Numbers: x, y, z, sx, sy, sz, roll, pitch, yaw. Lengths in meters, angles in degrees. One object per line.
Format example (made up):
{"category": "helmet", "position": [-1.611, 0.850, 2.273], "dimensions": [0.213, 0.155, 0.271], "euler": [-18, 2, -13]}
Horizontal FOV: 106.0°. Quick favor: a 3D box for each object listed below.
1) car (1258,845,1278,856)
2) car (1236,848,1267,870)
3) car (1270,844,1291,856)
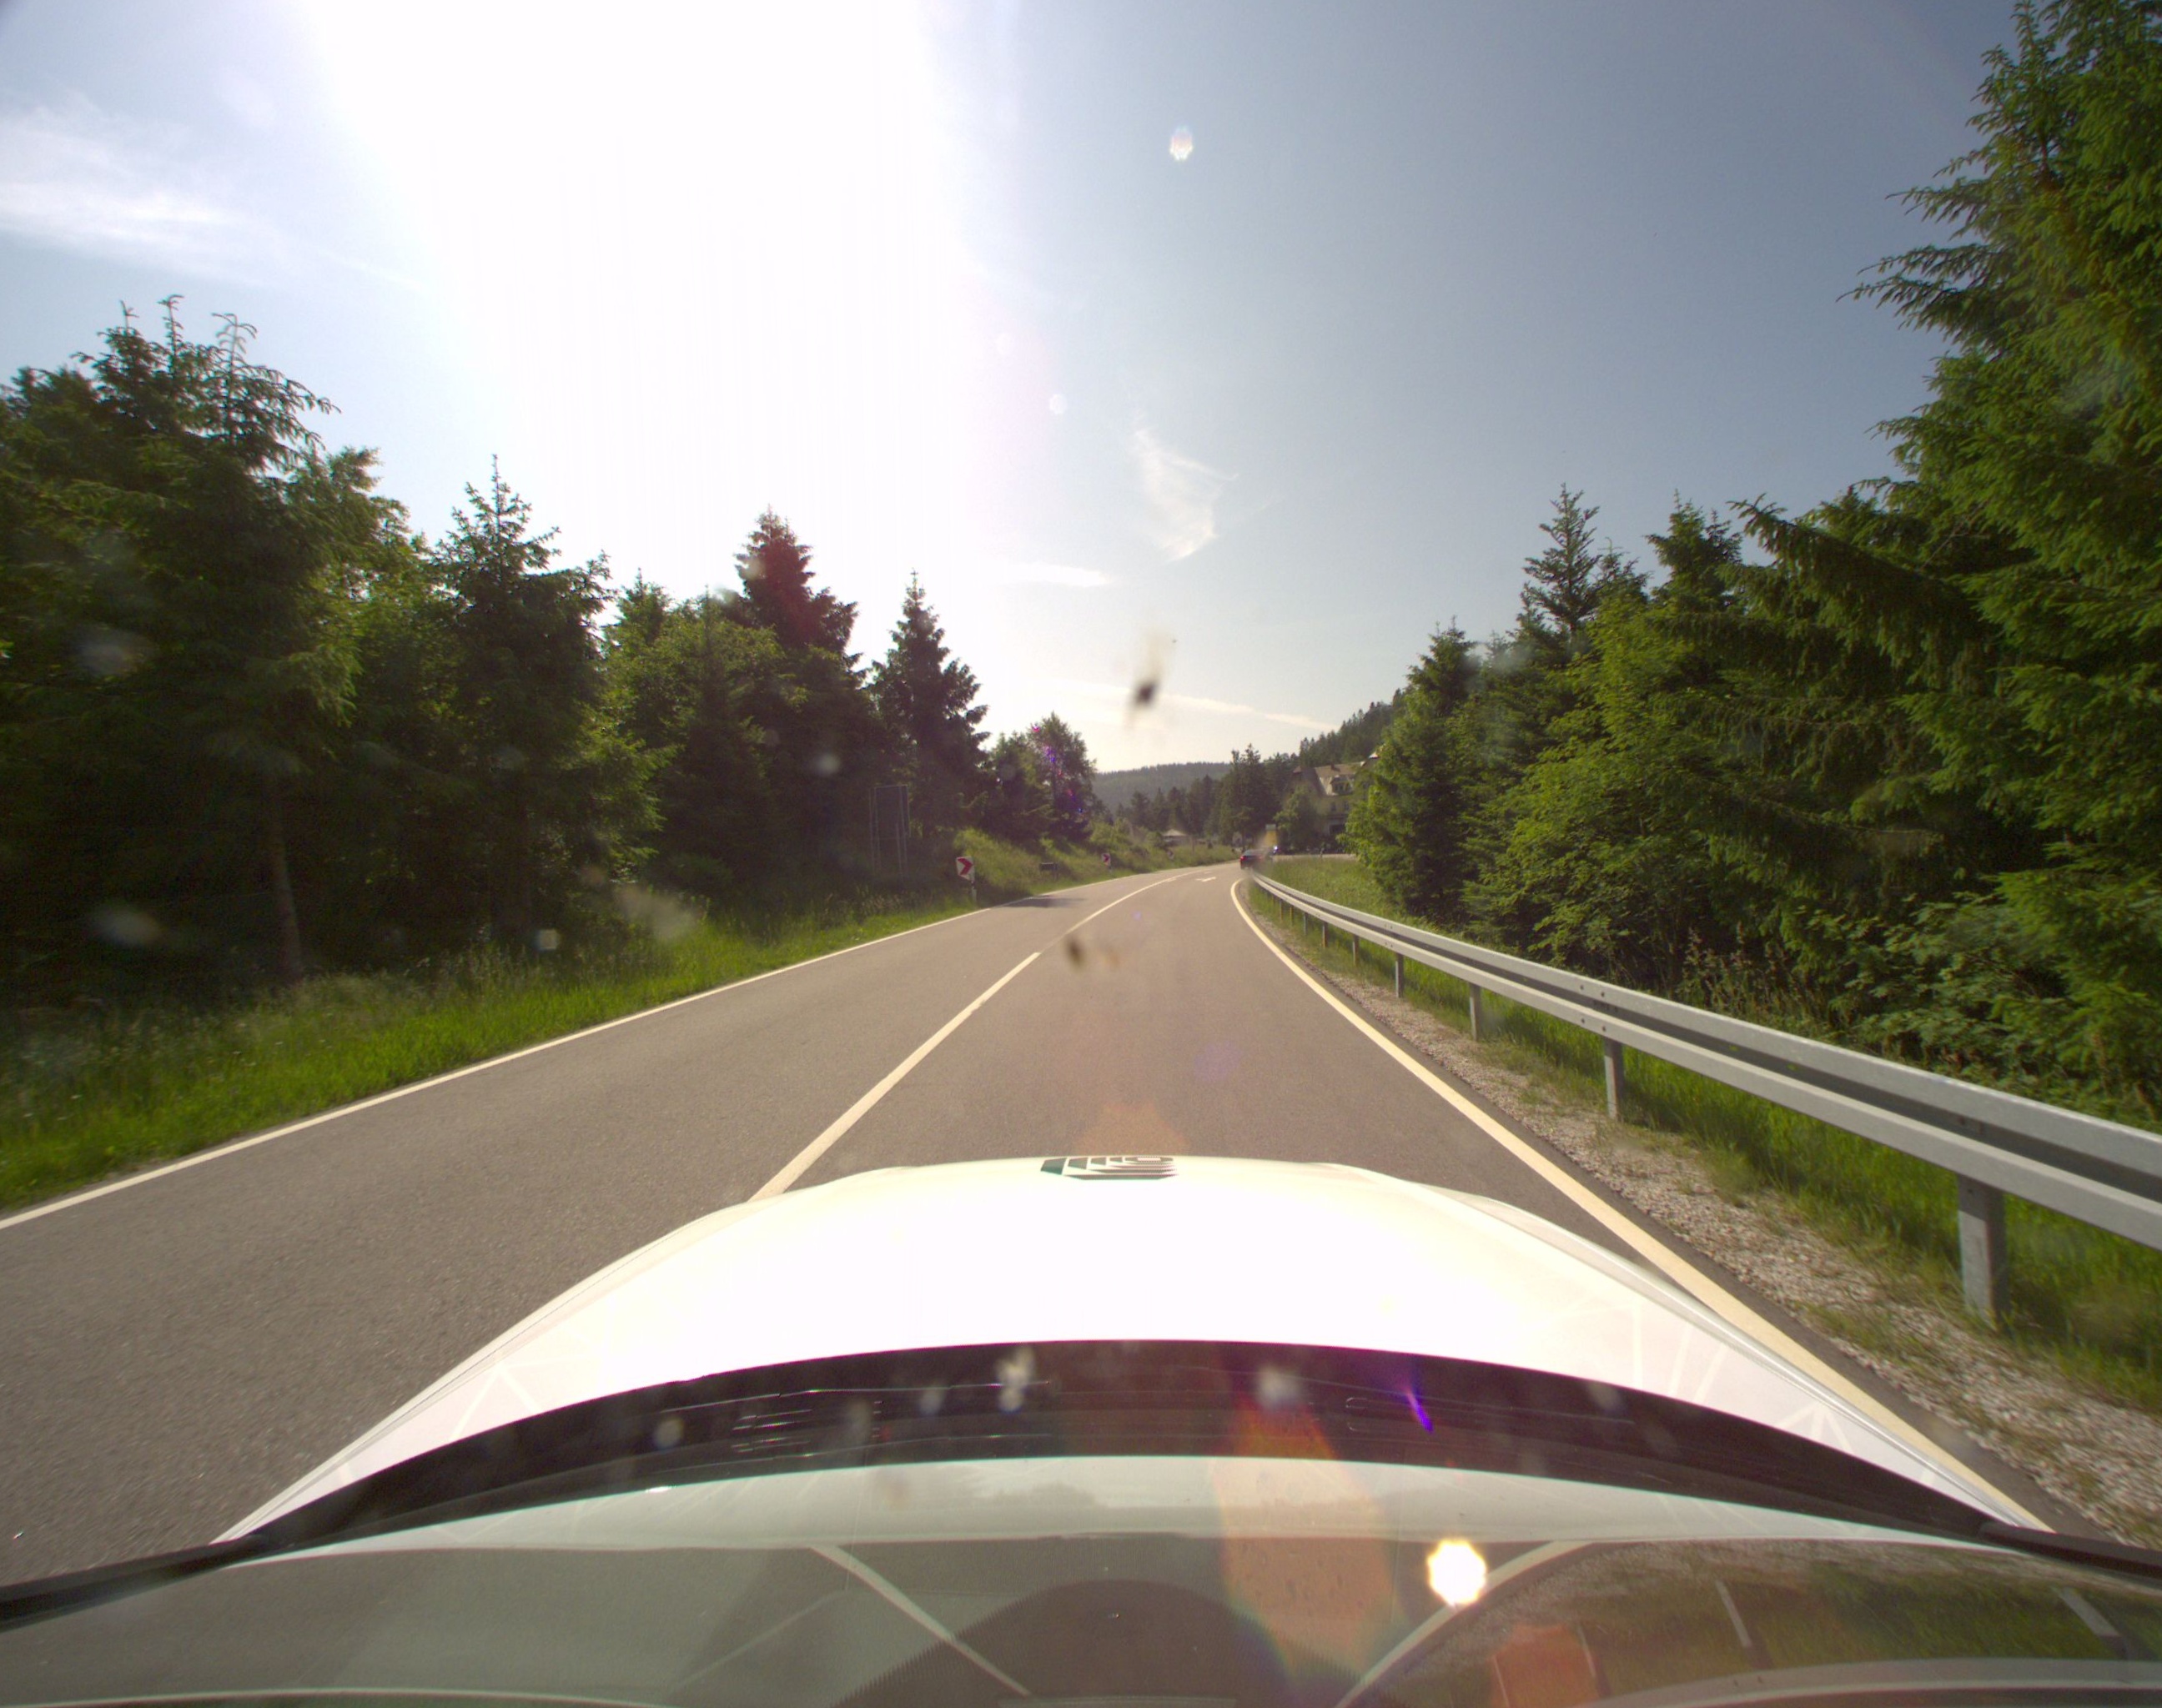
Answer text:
{"category": "car", "position": [30.461, -0.603, 132.900], "dimensions": [1.836, 1.671, 4.412], "euler": [-4, 0, 30]}
{"category": "car", "position": [12.342, 0.354, 58.805], "dimensions": [1.762, 1.442, 3.725], "euler": [-3, 0, 17]}
{"category": "car", "position": [32.122, -0.700, 131.039], "dimensions": [1.870, 1.648, 4.323], "euler": [-4, 0, 31]}
